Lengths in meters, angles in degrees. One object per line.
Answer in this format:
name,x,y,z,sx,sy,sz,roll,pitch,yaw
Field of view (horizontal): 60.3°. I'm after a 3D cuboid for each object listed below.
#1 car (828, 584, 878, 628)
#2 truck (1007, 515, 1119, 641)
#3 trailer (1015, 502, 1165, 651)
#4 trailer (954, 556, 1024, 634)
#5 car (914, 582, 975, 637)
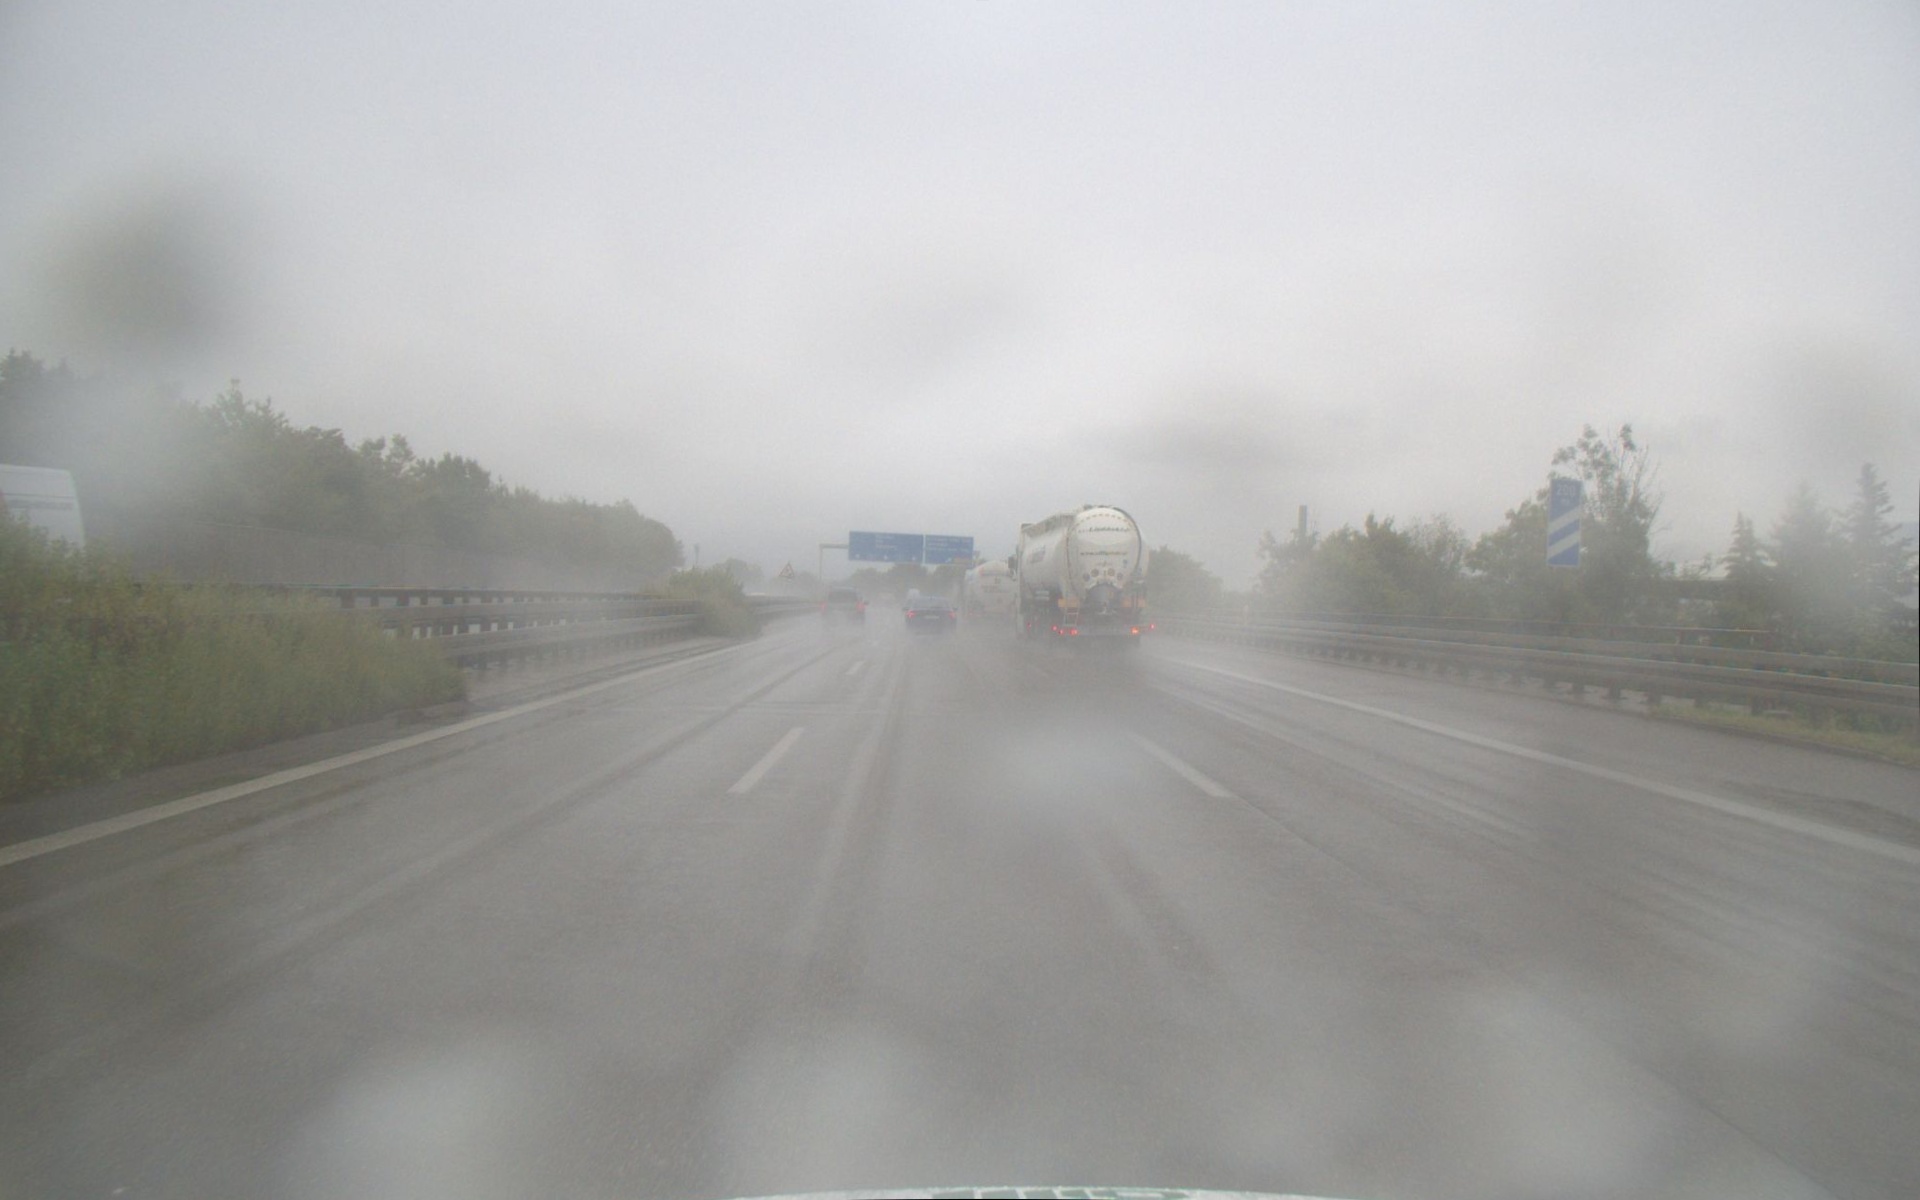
car,-4.472,0.227,69.580,1.886,1.771,4.403,1,0,-1
truck,3.287,-0.694,54.704,3.042,3.873,7.210,1,0,-1
trailer,3.476,-0.615,47.527,3.124,3.734,11.663,1,0,-1
trailer,1.478,-0.276,88.833,2.945,3.915,8.616,1,0,-4
car,-0.494,0.298,57.234,1.937,1.787,4.482,1,0,1
